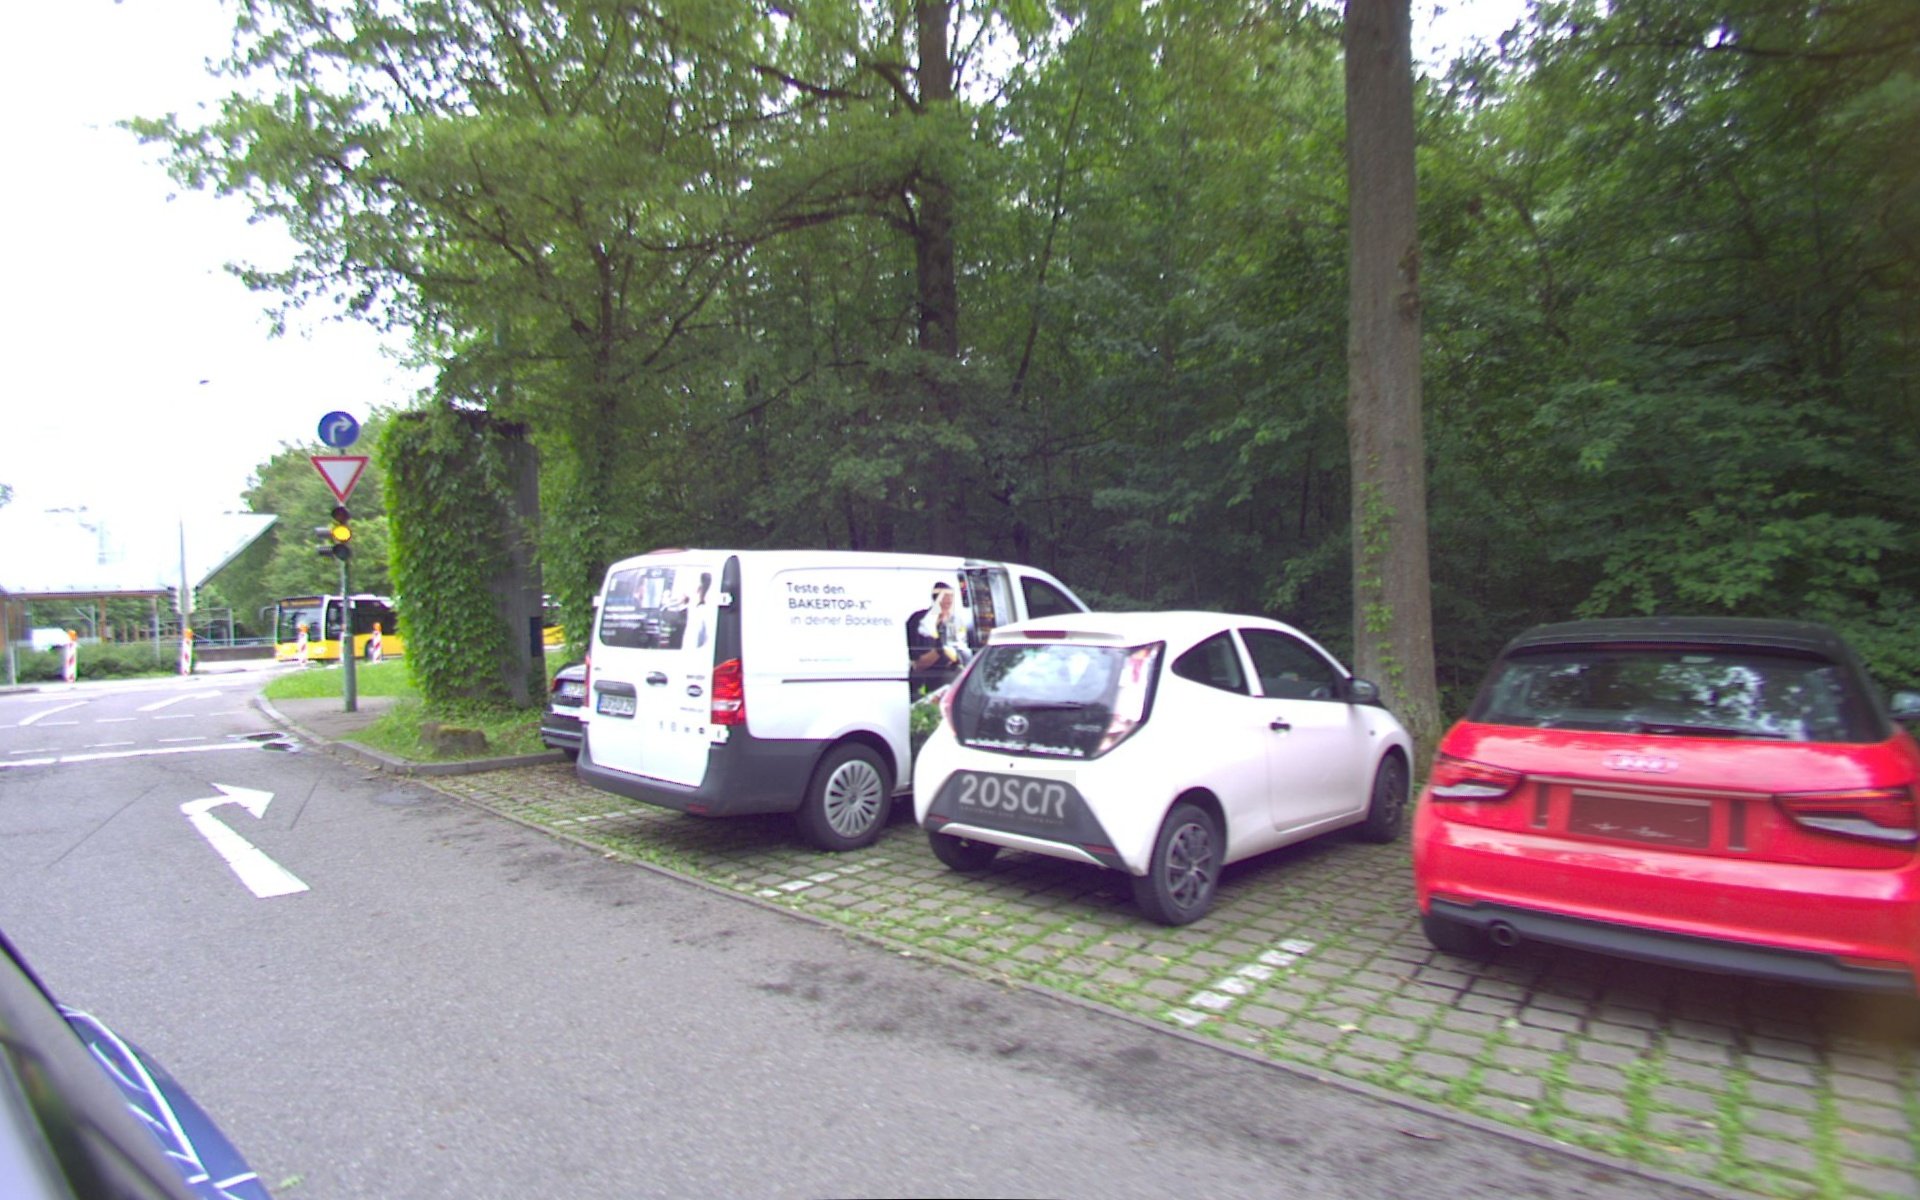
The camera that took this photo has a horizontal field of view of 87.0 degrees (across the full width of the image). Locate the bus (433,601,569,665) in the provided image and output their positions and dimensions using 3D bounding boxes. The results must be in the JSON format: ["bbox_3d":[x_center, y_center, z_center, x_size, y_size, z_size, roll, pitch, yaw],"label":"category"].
[{"bbox_3d":[-25.171,1.736,55.994,2.783,3.183,7.728,-3,-1,11],"label":"bus"}]

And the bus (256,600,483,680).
[{"bbox_3d":[-26.853,1.711,46.983,2.783,3.183,10.479,-3,-1,11],"label":"bus"}]

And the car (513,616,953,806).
[{"bbox_3d":[-2.058,0.917,9.996,1.723,1.389,3.943,-2,-1,43],"label":"car"}]

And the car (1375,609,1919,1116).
[{"bbox_3d":[3.544,0.780,4.829,1.821,1.456,3.947,-1,-1,39],"label":"car"}]

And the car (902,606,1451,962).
[{"bbox_3d":[1.405,0.822,5.943,3.188,1.478,1.656,1,-3,-45],"label":"car"}]

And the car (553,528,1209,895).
[{"bbox_3d":[-0.254,0.604,7.845,1.979,1.930,5.029,-2,-1,44],"label":"car"}]
